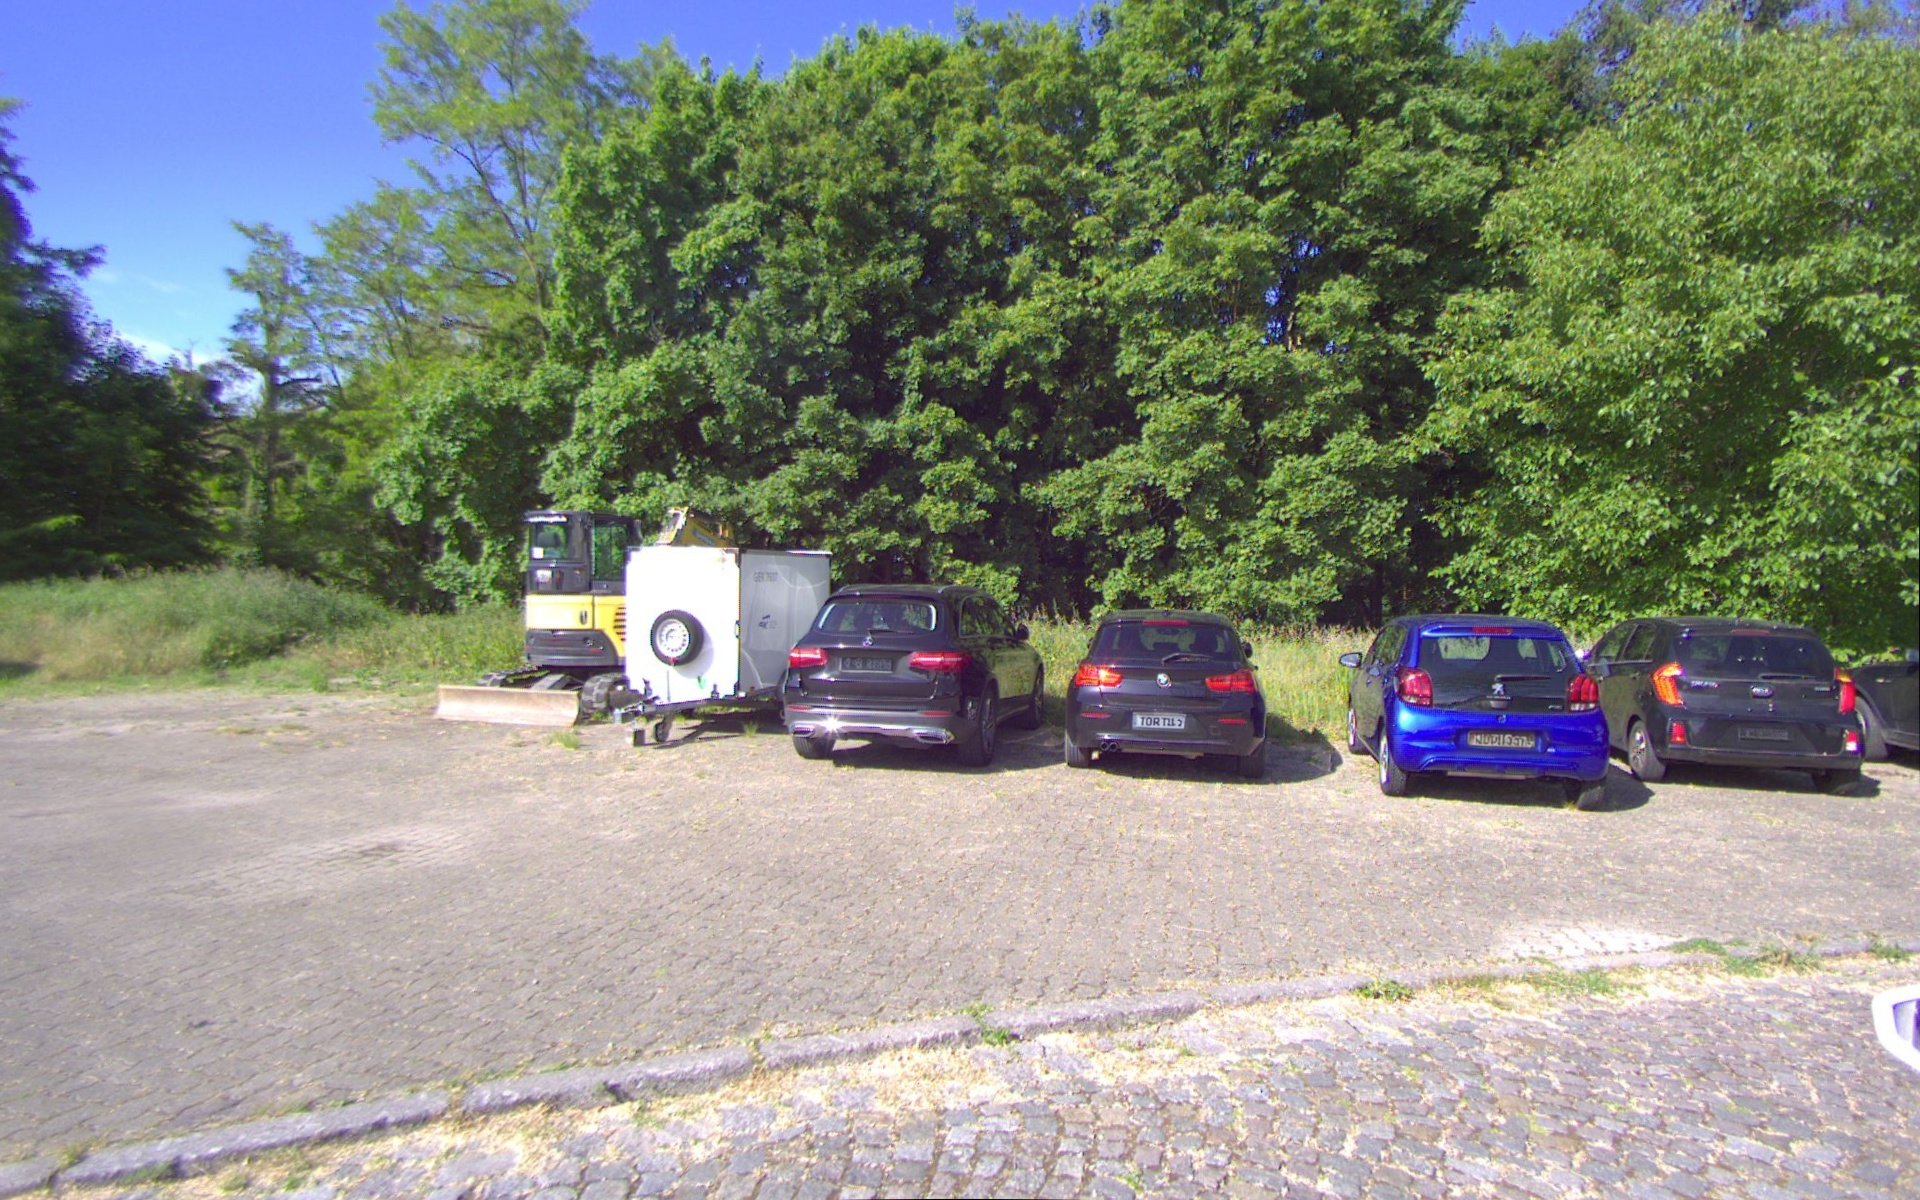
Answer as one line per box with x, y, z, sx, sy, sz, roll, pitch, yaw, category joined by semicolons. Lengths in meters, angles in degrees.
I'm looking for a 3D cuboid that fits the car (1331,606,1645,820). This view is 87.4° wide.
4.603;0.838;9.371;1.749;1.478;3.791;1;1;15;car

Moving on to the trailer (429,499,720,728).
-4.805;0.074;12.949;2.220;2.573;2.850;1;3;15;trailer

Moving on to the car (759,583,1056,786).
-0.286;0.687;10.407;1.931;1.611;4.133;1;0;14;car

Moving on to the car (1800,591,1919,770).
9.837;0.796;8.877;1.842;1.653;4.275;1;2;12;car

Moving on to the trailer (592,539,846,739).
-2.758;0.394;12.082;1.787;2.078;2.851;1;0;15;trailer

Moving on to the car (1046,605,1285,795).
2.080;0.797;9.939;1.857;1.430;3.791;1;0;14;car

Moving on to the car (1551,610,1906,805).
7.338;0.879;10.062;1.710;1.470;3.724;1;1;19;car
